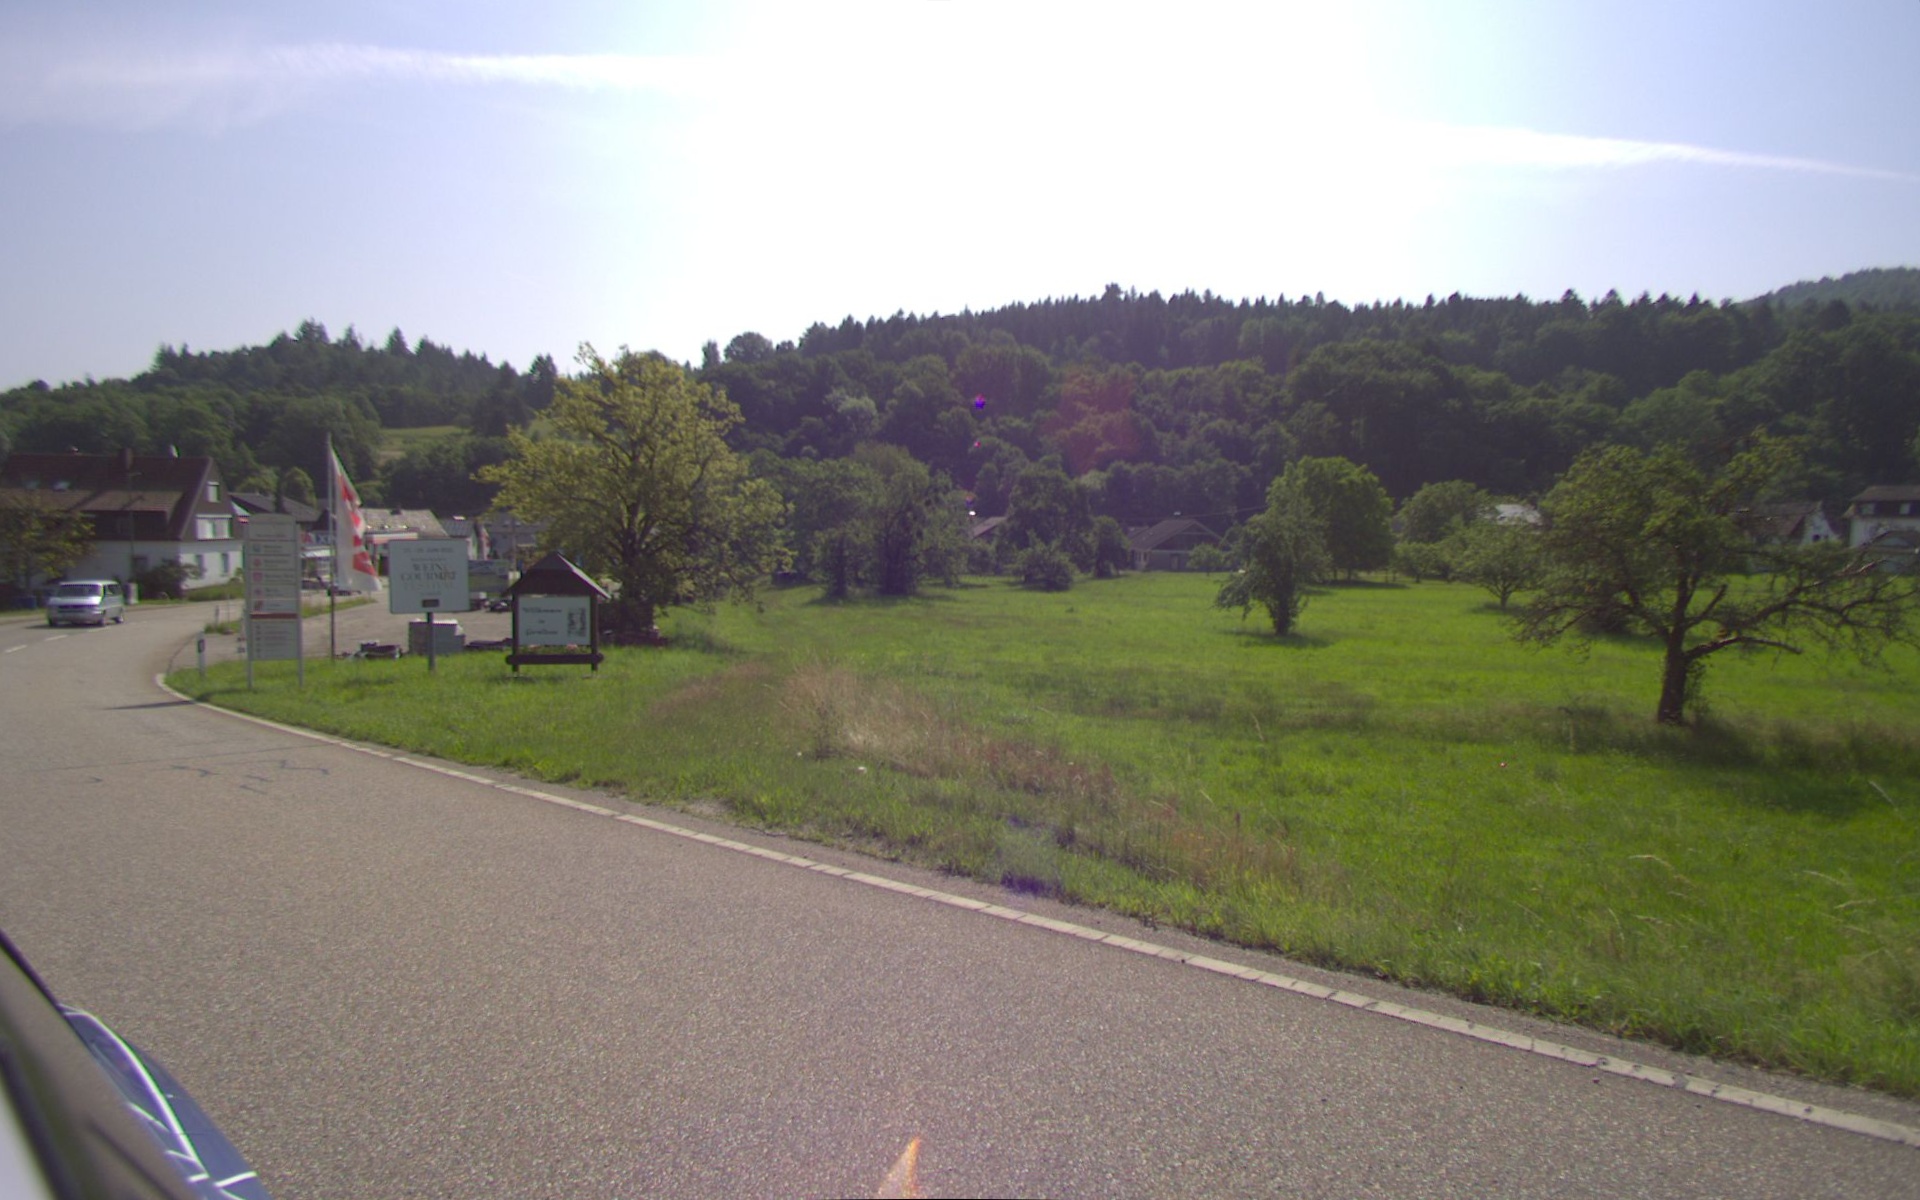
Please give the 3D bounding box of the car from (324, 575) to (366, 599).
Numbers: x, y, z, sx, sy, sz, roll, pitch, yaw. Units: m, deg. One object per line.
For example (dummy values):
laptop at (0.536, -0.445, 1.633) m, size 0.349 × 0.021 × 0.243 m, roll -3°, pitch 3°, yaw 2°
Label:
car at (-50.185, -1.098, 82.653) m, size 1.739 × 1.758 × 3.992 m, roll -1°, pitch 4°, yaw -14°

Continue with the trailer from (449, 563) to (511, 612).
trailer at (-30.061, -0.840, 63.469) m, size 3.344 × 2.933 × 1.890 m, roll -2°, pitch 2°, yaw -22°

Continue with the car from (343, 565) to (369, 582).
car at (-73.367, -3.238, 122.931) m, size 1.657 × 1.829 × 4.012 m, roll -2°, pitch 4°, yaw -15°

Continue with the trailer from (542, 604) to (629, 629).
trailer at (-18.349, 0.804, 49.778) m, size 3.878 × 0.946 × 1.874 m, roll -2°, pitch 4°, yaw -17°

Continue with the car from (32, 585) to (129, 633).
car at (-37.924, 0.332, 43.780) m, size 1.864 × 1.871 × 4.719 m, roll 0°, pitch 2°, yaw -24°

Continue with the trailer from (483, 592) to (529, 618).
trailer at (-26.436, 0.244, 59.039) m, size 1.966 × 1.235 × 5.565 m, roll -2°, pitch 3°, yaw -19°
